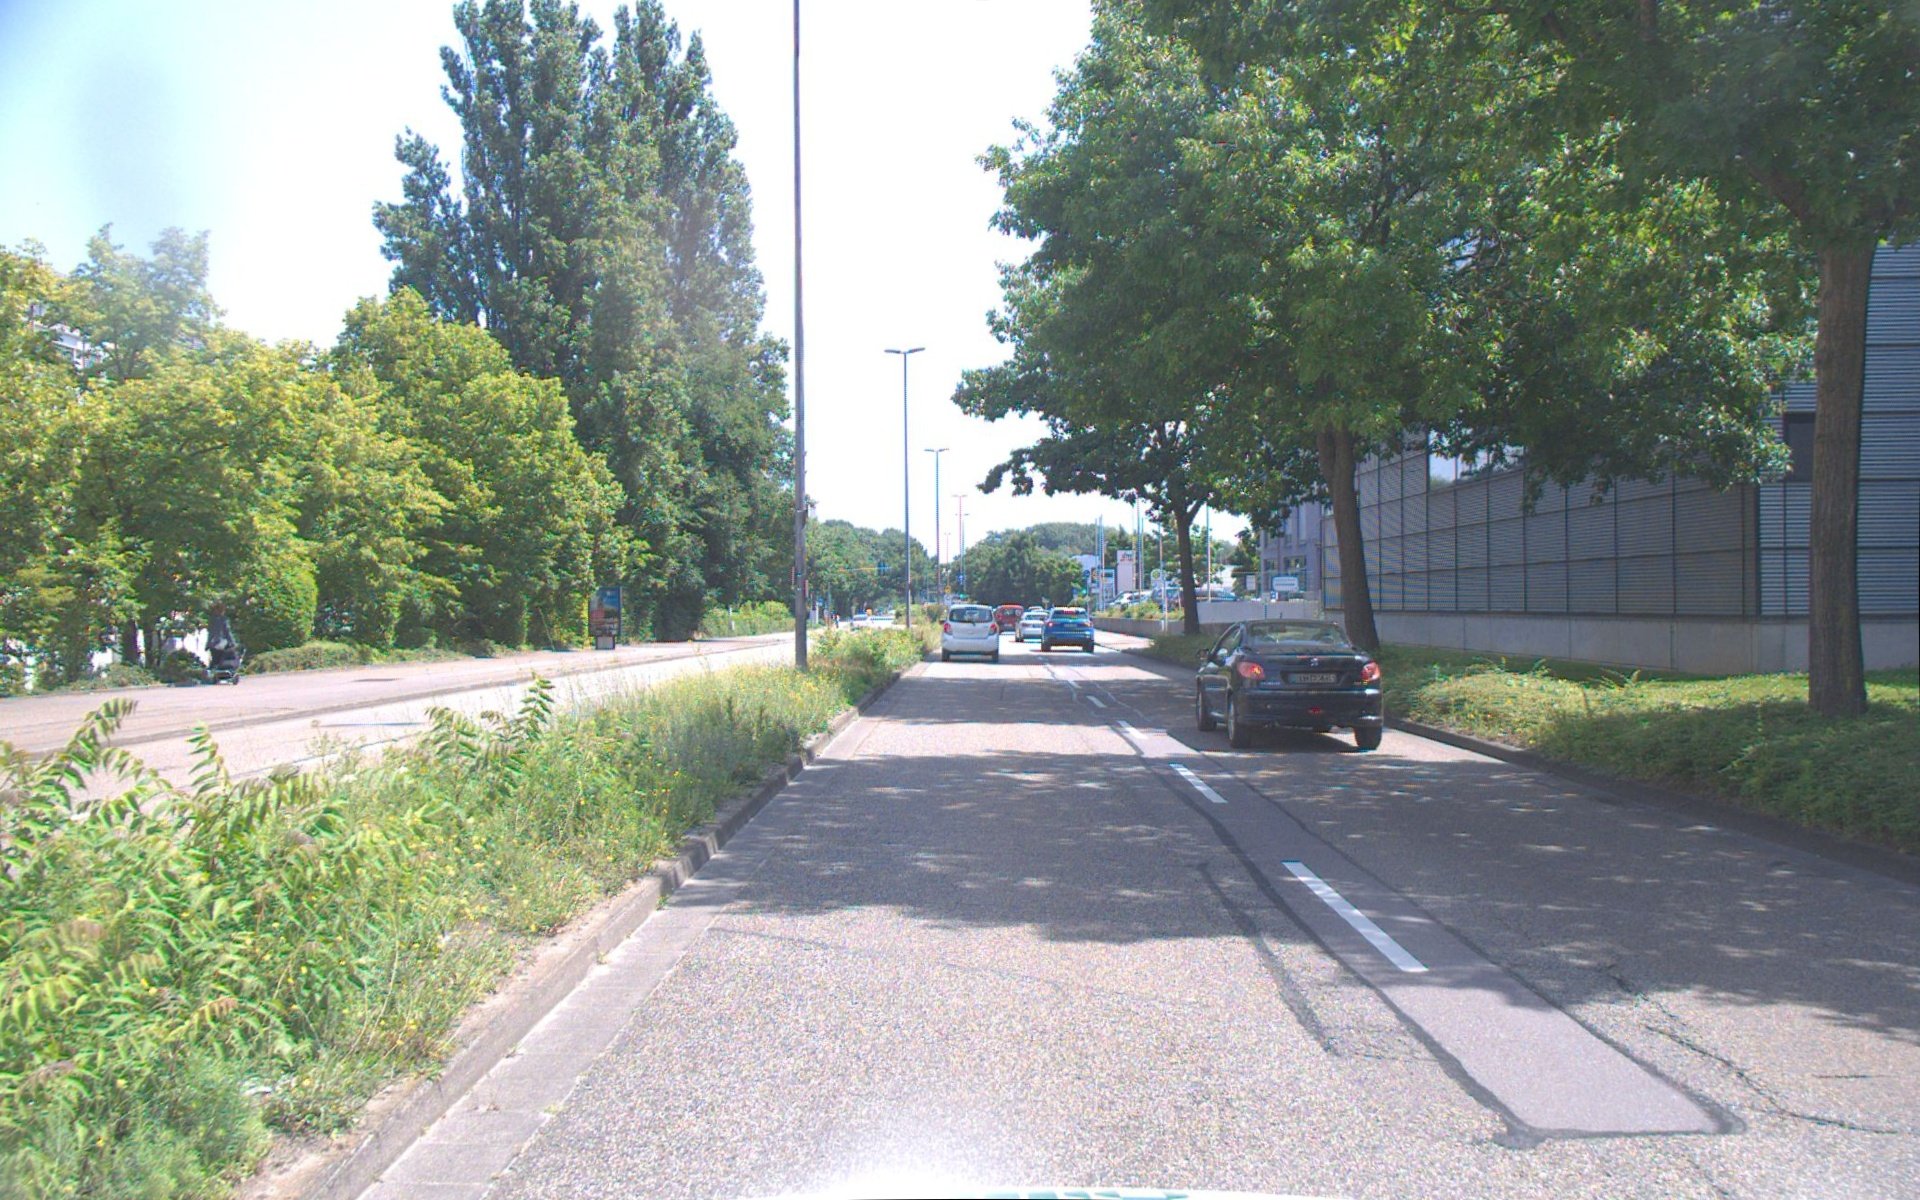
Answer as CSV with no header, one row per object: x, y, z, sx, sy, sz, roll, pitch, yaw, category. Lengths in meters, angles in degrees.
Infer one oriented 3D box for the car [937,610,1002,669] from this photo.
0.300,1.068,46.475,1.712,1.546,3.746,0,0,2,car

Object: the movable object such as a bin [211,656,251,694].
-14.281,1.460,32.411,0.419,0.718,0.652,-1,-1,9,movable object such as a bin

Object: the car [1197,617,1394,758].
3.751,0.934,19.038,1.593,1.388,3.606,1,0,1,car

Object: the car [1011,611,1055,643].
3.489,1.293,79.664,1.953,1.467,4.000,-1,-1,0,car

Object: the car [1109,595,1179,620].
12.382,0.506,111.612,4.442,1.572,2.000,-2,-1,0,car

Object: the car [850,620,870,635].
-9.600,2.662,159.594,1.701,1.438,4.370,-1,-1,-1,car

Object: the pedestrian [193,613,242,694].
-14.706,1.049,32.766,0.620,1.572,0.727,-1,-1,0,pedestrian

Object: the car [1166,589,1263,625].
12.433,0.367,80.970,4.407,1.610,2.000,-2,-1,0,car

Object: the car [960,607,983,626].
1.032,1.518,152.319,1.783,1.691,3.997,-1,1,-3,car

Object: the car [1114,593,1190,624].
11.128,0.489,95.932,4.140,1.676,2.000,-2,-1,0,car

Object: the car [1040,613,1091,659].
3.829,1.314,60.297,1.789,1.608,3.606,-1,-1,3,car

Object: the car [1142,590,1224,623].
12.086,0.347,89.709,4.140,1.676,2.000,-2,-1,0,car

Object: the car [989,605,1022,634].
2.814,1.209,103.016,1.740,1.771,3.998,-1,-1,-3,car

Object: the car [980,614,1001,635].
2.584,2.060,141.350,1.760,1.720,4.000,-2,-1,0,car

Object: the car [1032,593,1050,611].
9.375,0.246,191.341,1.734,2.049,3.989,-1,0,-3,car
